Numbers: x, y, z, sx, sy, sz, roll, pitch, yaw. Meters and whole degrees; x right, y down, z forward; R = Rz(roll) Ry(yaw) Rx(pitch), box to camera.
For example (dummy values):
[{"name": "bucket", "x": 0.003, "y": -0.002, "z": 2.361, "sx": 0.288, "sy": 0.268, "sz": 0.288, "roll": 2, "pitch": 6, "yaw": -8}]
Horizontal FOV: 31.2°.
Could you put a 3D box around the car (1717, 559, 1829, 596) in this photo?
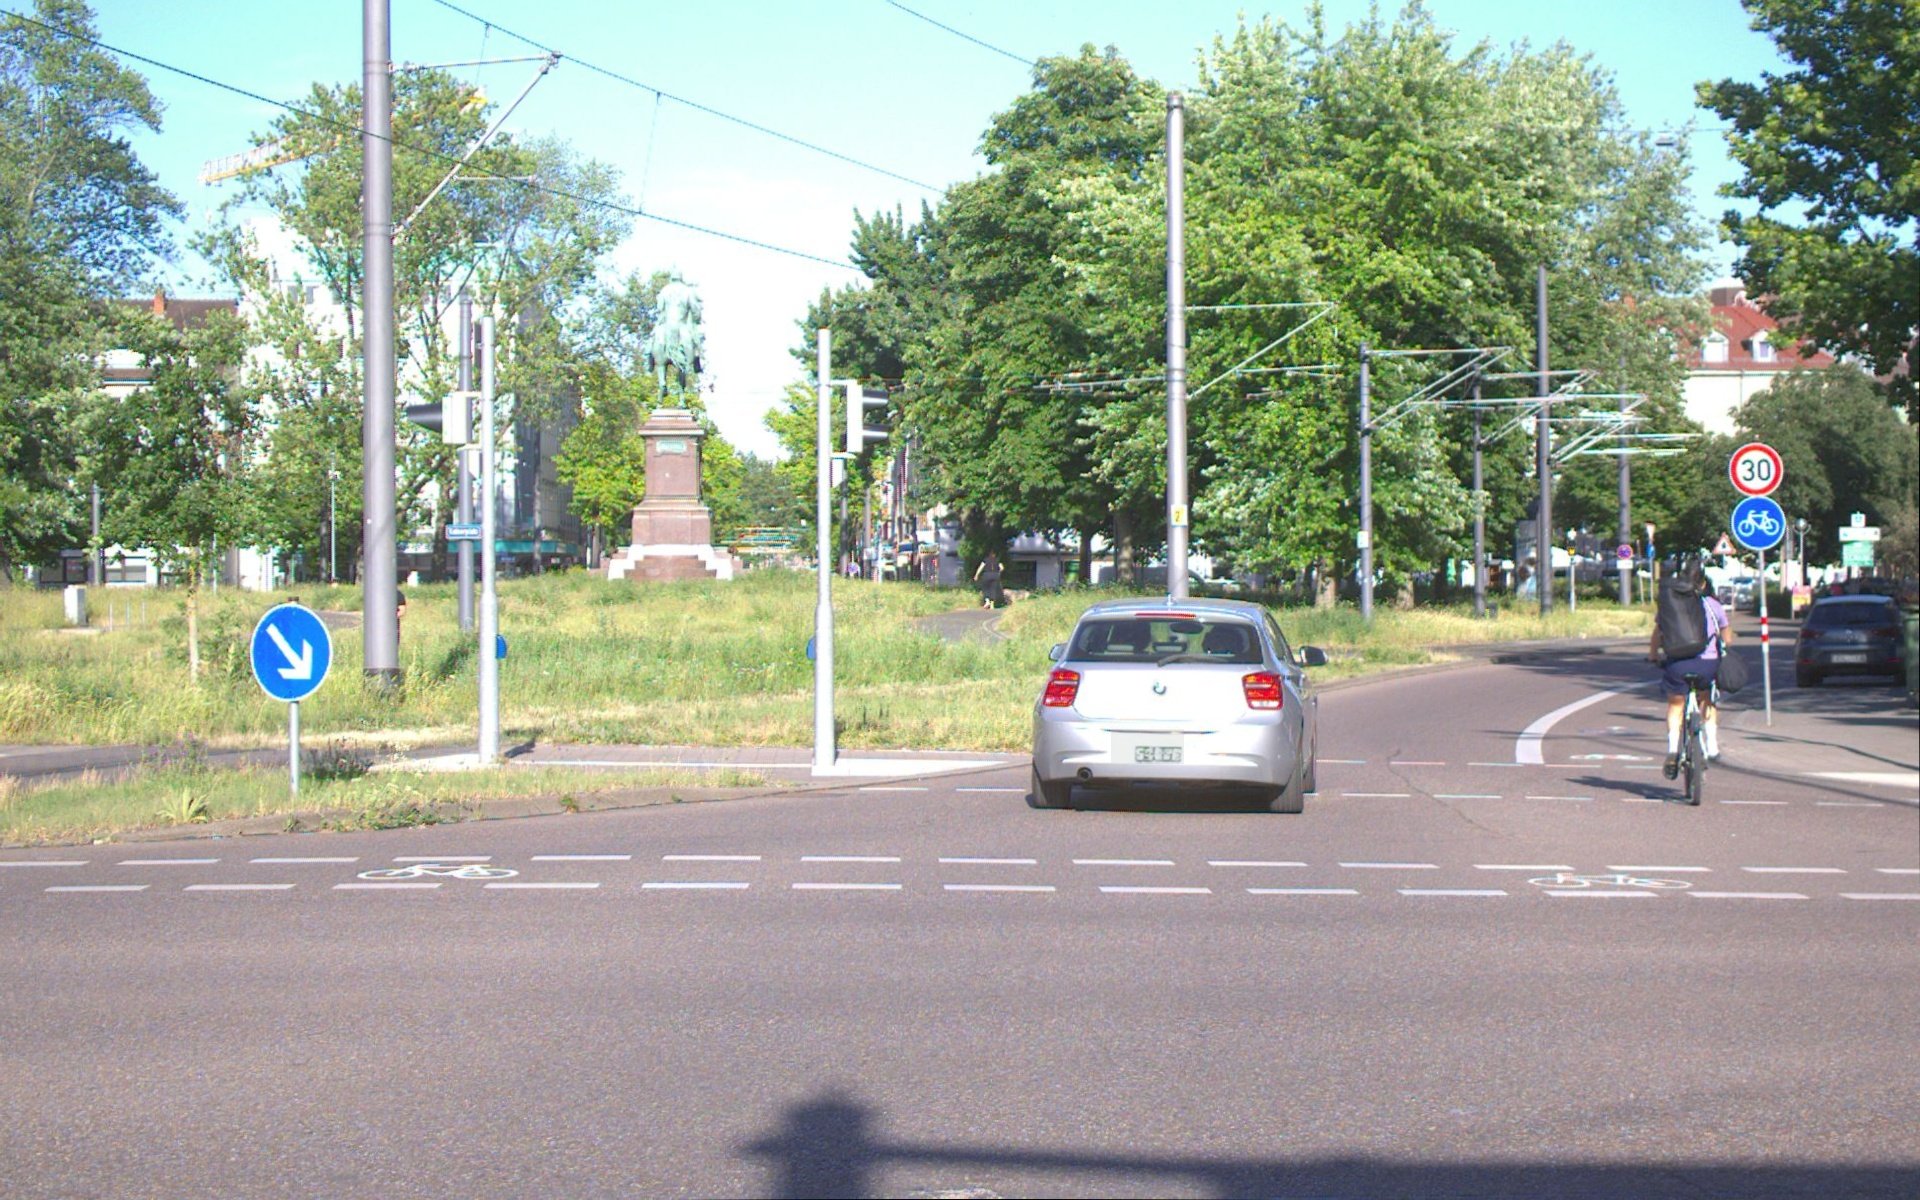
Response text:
[{"name": "car", "x": 42.601, "y": -1.172, "z": 180.134, "sx": 5.262, "sy": 1.794, "sz": 2.164, "roll": 2, "pitch": 0, "yaw": -5}]

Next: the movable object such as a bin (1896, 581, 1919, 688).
[{"name": "movable object such as a bin", "x": 12.958, "y": 0.470, "z": 45.098, "sx": 1.281, "sy": 1.387, "sz": 0.921, "roll": 2, "pitch": 0, "yaw": 15}]

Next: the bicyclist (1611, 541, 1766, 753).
[{"name": "bicyclist", "x": 5.324, "y": 0.336, "z": 25.097, "sx": 1.038, "sy": 1.479, "sz": 0.988, "roll": 2, "pitch": 0, "yaw": 14}]

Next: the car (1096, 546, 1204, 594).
[{"name": "car", "x": 9.829, "y": -1.566, "z": 178.157, "sx": 5.336, "sy": 2.306, "sz": 2.000, "roll": 2, "pitch": 0, "yaw": -2}]

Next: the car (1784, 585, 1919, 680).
[{"name": "car", "x": 14.543, "y": 0.500, "z": 55.908, "sx": 1.767, "sy": 1.433, "sz": 4.579, "roll": 0, "pitch": 1, "yaw": 19}]

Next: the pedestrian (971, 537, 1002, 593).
[{"name": "pedestrian", "x": 0.777, "y": -1.018, "z": 100.734, "sx": 0.673, "sy": 1.610, "sz": 0.555, "roll": 2, "pitch": 0, "yaw": -31}]

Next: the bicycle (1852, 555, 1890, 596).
[{"name": "bicycle", "x": 22.471, "y": -0.600, "z": 84.811, "sx": 0.653, "sy": 0.955, "sz": 2.695, "roll": 2, "pitch": 0, "yaw": 20}]

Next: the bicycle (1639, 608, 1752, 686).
[{"name": "bicycle", "x": 11.615, "y": 0.754, "z": 54.256, "sx": 0.822, "sy": 1.181, "sz": 1.959, "roll": 2, "pitch": 0, "yaw": 43}]

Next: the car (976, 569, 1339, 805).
[{"name": "car", "x": 1.462, "y": 0.554, "z": 23.673, "sx": 1.994, "sy": 1.418, "sz": 4.195, "roll": 2, "pitch": 0, "yaw": 10}]

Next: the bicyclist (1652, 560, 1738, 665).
[{"name": "bicyclist", "x": 11.585, "y": 0.197, "z": 54.192, "sx": 0.941, "sy": 1.628, "sz": 0.933, "roll": 2, "pitch": 0, "yaw": 44}]

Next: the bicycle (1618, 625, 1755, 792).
[{"name": "bicycle", "x": 5.330, "y": 0.765, "z": 25.121, "sx": 0.886, "sy": 1.132, "sz": 2.227, "roll": 2, "pitch": 0, "yaw": 14}]

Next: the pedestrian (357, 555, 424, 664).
[{"name": "pedestrian", "x": -8.848, "y": 0.145, "z": 53.458, "sx": 0.734, "sy": 1.665, "sz": 0.744, "roll": 1, "pitch": 1, "yaw": 22}]

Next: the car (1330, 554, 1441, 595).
[{"name": "car", "x": 22.728, "y": -1.373, "z": 183.683, "sx": 5.575, "sy": 2.007, "sz": 1.818, "roll": 2, "pitch": 0, "yaw": -5}]

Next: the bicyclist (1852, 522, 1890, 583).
[{"name": "bicyclist", "x": 22.466, "y": -1.173, "z": 84.759, "sx": 0.787, "sy": 1.448, "sz": 1.094, "roll": 2, "pitch": 0, "yaw": 20}]
